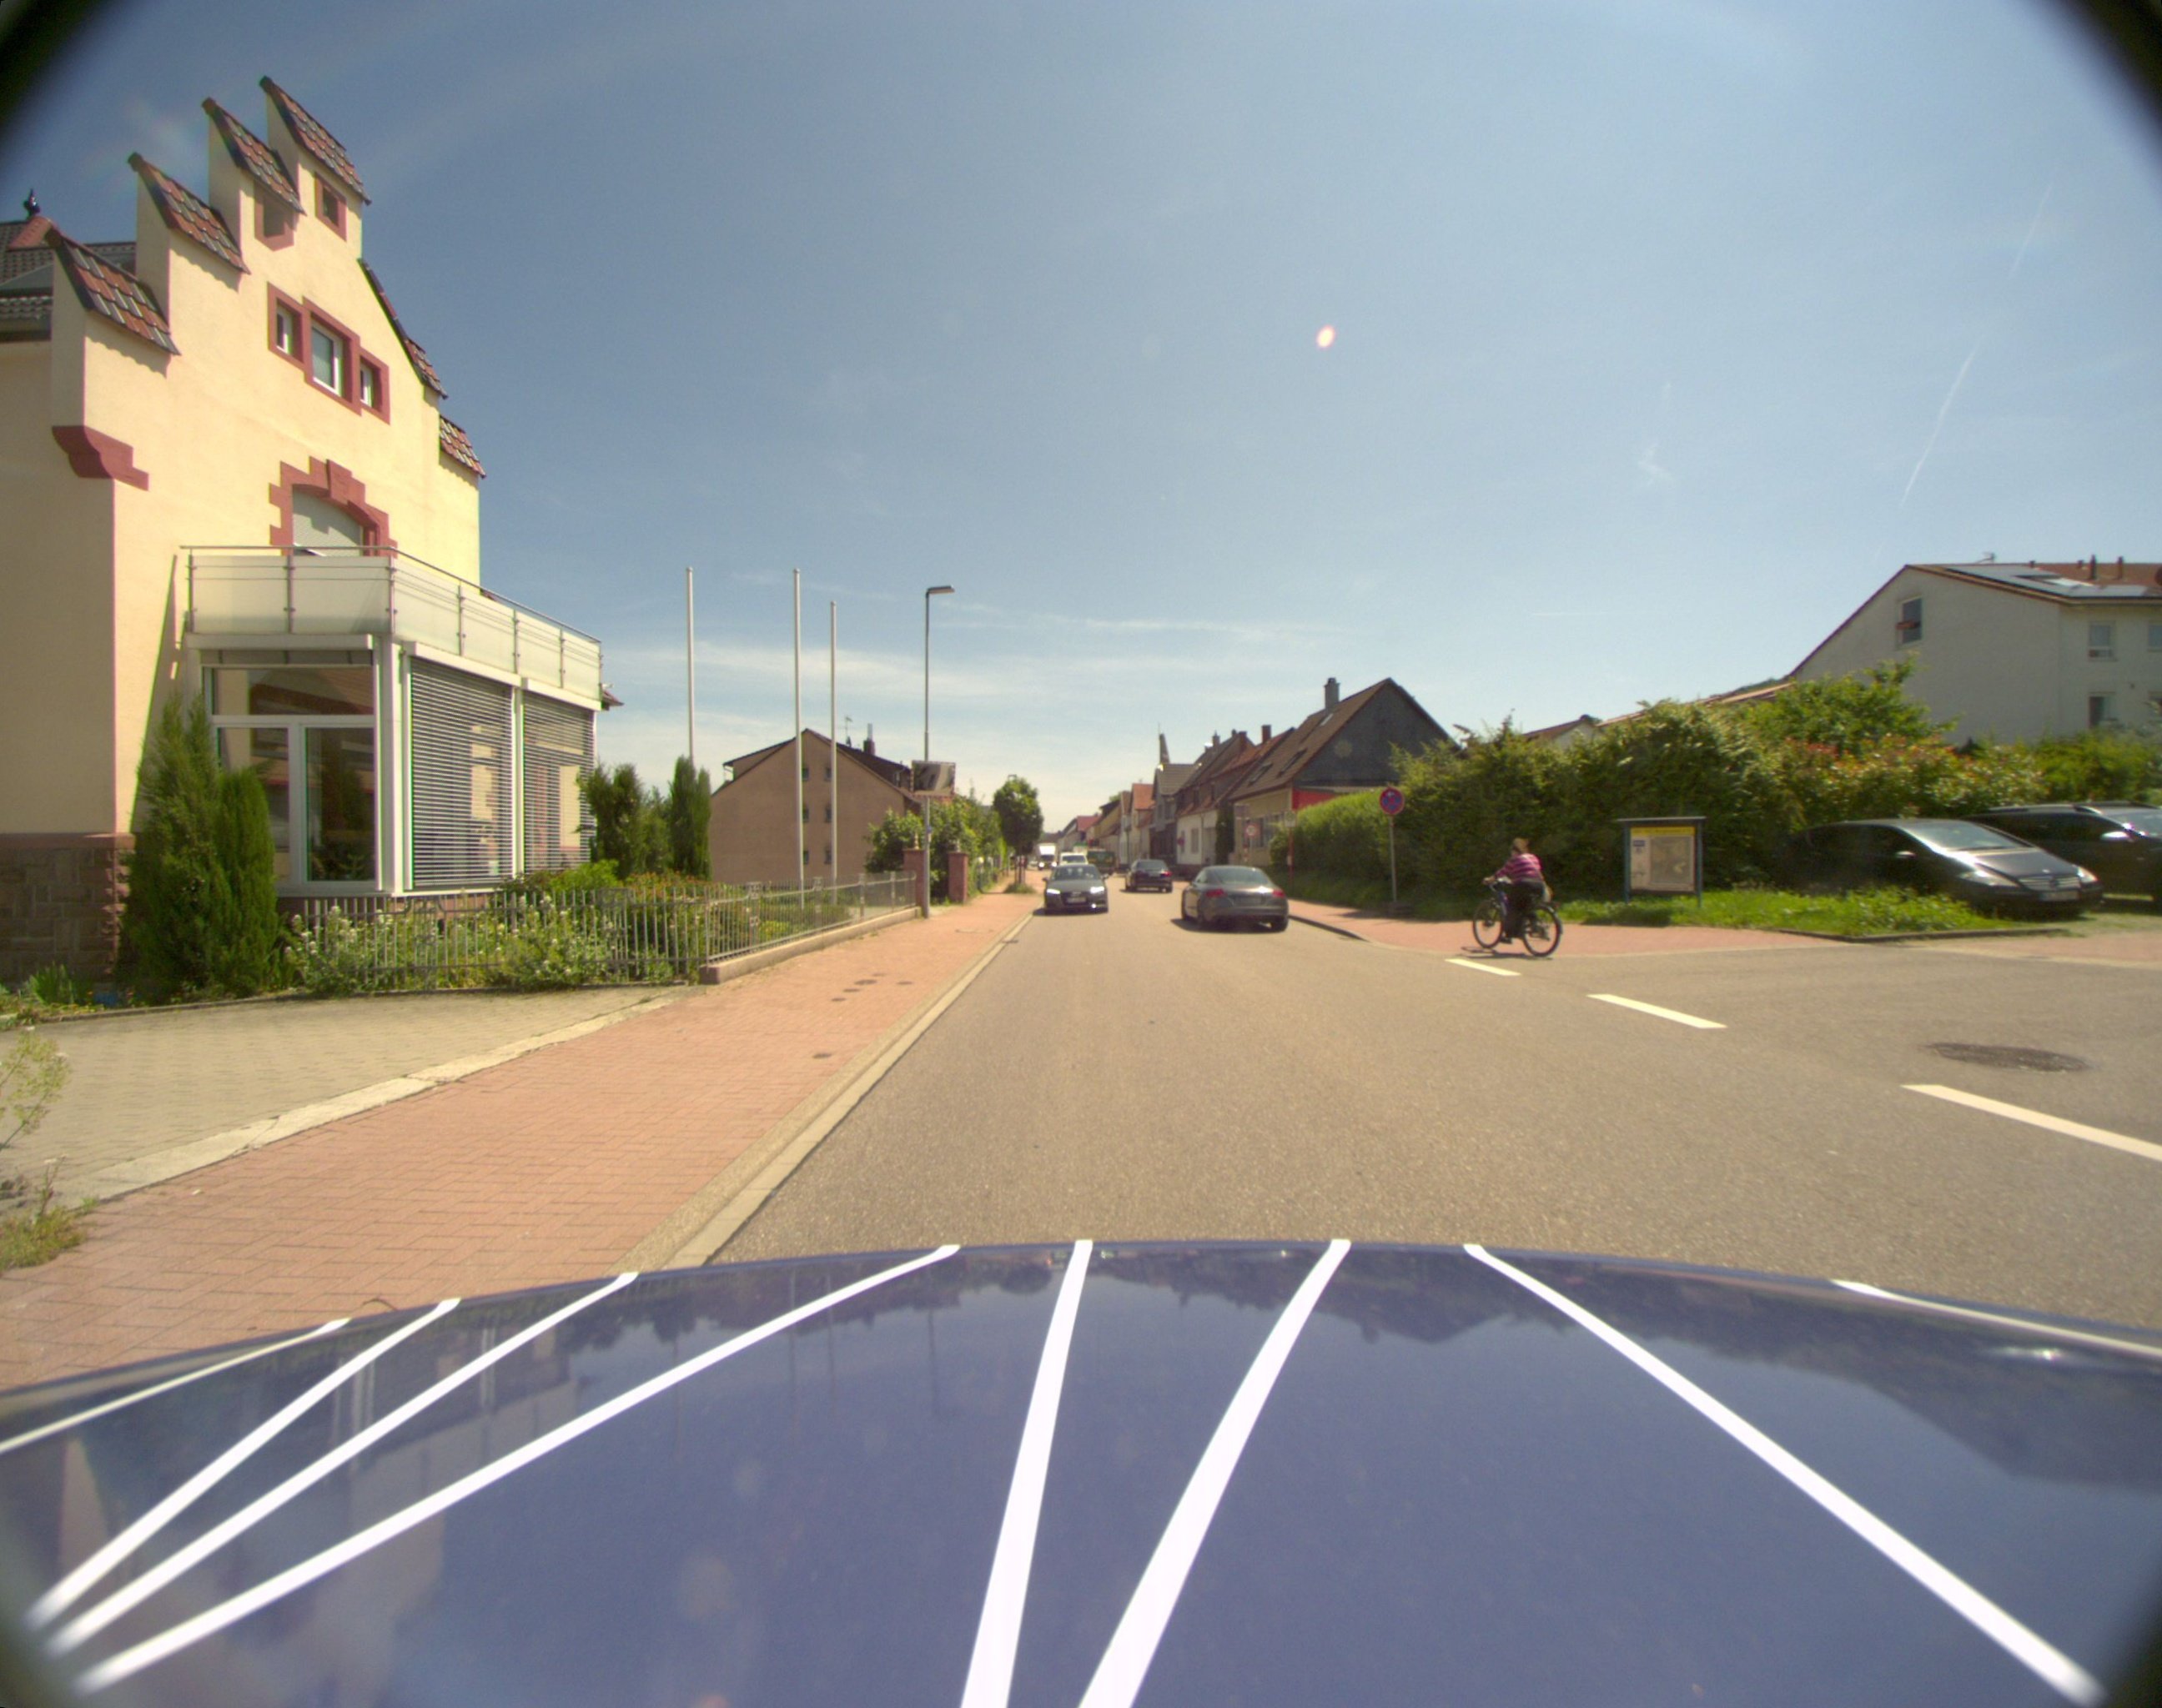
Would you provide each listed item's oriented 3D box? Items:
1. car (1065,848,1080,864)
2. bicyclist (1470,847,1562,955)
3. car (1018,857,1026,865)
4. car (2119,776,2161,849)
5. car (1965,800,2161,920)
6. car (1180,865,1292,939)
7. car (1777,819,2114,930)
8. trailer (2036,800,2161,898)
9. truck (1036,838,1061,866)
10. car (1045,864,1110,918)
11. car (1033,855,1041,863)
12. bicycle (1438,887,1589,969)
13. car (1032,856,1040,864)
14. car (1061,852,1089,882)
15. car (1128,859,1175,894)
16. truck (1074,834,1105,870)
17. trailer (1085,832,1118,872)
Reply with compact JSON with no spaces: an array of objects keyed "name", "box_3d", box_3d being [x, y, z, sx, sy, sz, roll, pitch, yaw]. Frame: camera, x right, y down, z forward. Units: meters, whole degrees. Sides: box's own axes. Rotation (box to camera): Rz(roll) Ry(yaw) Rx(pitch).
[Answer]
[{"name":"car","box_3d":[-1.307,0.298,116.090,2.035,2.446,6.066,0,0,-3]},{"name":"bicyclist","box_3d":[6.375,0.667,11.172,0.661,1.485,0.908,-4,1,-15]},{"name":"car","box_3d":[-11.688,1.395,150.146,1.637,1.572,3.568,1,0,-4]},{"name":"car","box_3d":[27.217,-1.055,17.914,3.639,1.724,1.420,-3,1,-2]},{"name":"car","box_3d":[16.990,0.051,12.165,1.627,1.769,3.511,-3,0,4]},{"name":"car","box_3d":[3.315,0.970,16.917,1.710,1.362,3.869,1,0,1]},{"name":"car","box_3d":[14.234,0.289,12.872,1.627,1.531,3.652,-4,0,4]},{"name":"trailer","box_3d":[19.499,-0.114,13.544,1.430,1.654,2.691,-5,0,-4]},{"name":"truck","box_3d":[-4.462,-0.205,103.101,2.899,3.516,12.948,-1,0,-4]},{"name":"car","box_3d":[-0.169,1.033,22.481,1.705,1.346,3.999,-2,0,-2]},{"name":"car","box_3d":[-9.515,1.075,164.496,1.508,1.432,3.534,-3,1,-5]},{"name":"bicycle","box_3d":[6.360,1.044,11.324,0.673,1.049,2.024,-4,-1,-15]},{"name":"car","box_3d":[-8.782,1.225,147.946,1.508,1.432,3.534,-3,1,-5]},{"name":"car","box_3d":[-0.433,0.793,49.155,1.637,1.833,3.569,-1,0,-2]},{"name":"car","box_3d":[3.180,0.989,35.232,1.734,1.451,4.694,0,0,0]},{"name":"truck","box_3d":[0.828,-0.182,81.298,2.574,3.679,10.074,0,0,-4]},{"name":"trailer","box_3d":[1.834,-0.181,72.913,2.537,3.627,8.459,0,0,-3]}]
